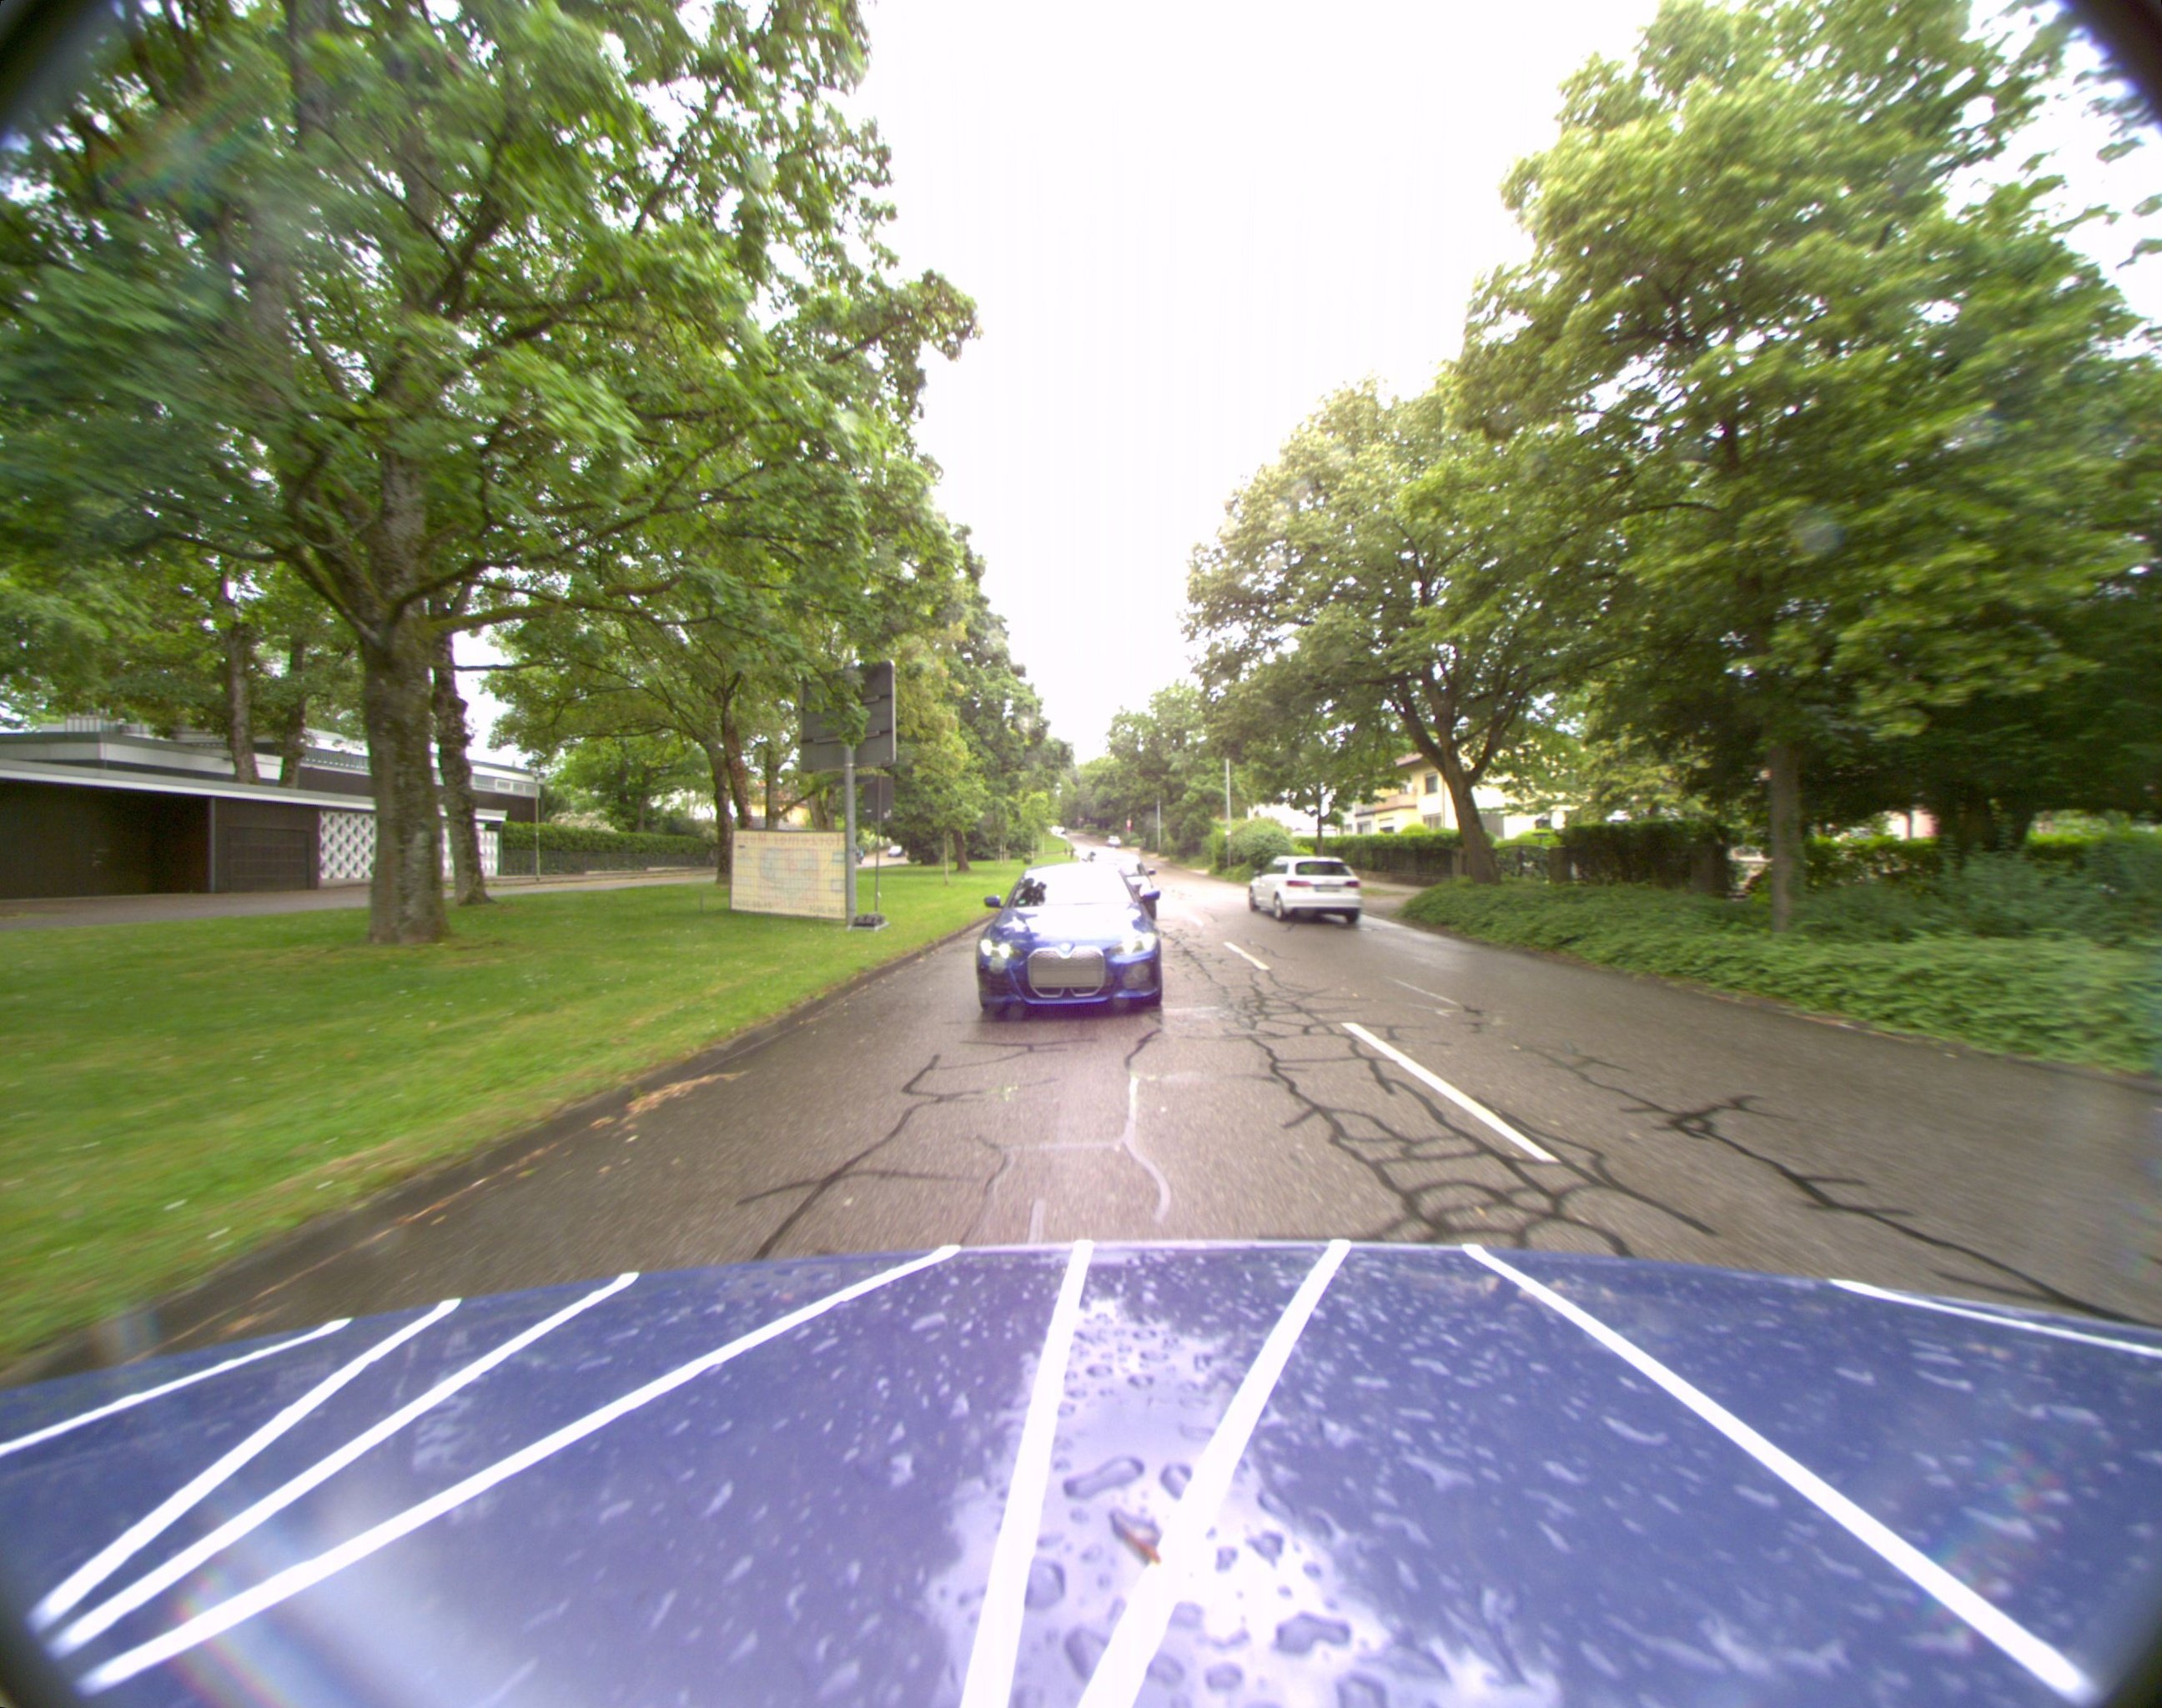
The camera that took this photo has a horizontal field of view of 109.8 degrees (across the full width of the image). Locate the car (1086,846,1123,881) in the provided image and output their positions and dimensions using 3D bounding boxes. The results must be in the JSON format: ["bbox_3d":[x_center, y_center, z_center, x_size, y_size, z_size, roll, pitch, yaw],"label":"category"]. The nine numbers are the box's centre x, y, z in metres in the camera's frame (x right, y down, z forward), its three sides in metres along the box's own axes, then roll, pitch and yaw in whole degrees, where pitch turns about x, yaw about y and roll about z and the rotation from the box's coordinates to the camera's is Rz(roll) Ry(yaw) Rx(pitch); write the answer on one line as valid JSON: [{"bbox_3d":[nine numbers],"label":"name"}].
[{"bbox_3d":[1.145,0.400,37.027,1.678,1.542,3.831,0,2,2],"label":"car"}]

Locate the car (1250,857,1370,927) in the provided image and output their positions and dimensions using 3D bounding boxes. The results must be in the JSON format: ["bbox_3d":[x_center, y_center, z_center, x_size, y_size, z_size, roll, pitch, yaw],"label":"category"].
[{"bbox_3d":[5.093,0.789,17.426,1.612,1.419,4.009,0,0,1],"label":"car"}]

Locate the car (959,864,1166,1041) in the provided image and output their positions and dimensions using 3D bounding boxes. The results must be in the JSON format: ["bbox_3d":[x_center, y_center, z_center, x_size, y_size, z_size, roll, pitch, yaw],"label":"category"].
[{"bbox_3d":[-0.036,0.920,9.075,1.795,1.458,4.511,-3,0,3],"label":"car"}]

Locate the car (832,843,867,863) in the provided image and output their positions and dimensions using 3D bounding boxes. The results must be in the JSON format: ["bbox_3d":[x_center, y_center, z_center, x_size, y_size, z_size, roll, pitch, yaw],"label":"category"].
[{"bbox_3d":[-23.789,-0.119,78.375,2.165,1.868,5.067,0,2,-1],"label":"car"}]

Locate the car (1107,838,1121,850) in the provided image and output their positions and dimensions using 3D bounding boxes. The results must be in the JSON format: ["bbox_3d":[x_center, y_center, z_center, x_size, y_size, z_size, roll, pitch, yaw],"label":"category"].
[{"bbox_3d":[4.635,-1.438,106.638,1.768,1.605,4.141,0,1,1],"label":"car"}]

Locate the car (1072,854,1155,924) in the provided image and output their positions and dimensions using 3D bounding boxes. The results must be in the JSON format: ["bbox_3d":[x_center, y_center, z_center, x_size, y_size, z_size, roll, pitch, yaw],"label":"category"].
[{"bbox_3d":[0.846,0.780,19.056,1.795,1.459,4.510,-1,1,3],"label":"car"}]
